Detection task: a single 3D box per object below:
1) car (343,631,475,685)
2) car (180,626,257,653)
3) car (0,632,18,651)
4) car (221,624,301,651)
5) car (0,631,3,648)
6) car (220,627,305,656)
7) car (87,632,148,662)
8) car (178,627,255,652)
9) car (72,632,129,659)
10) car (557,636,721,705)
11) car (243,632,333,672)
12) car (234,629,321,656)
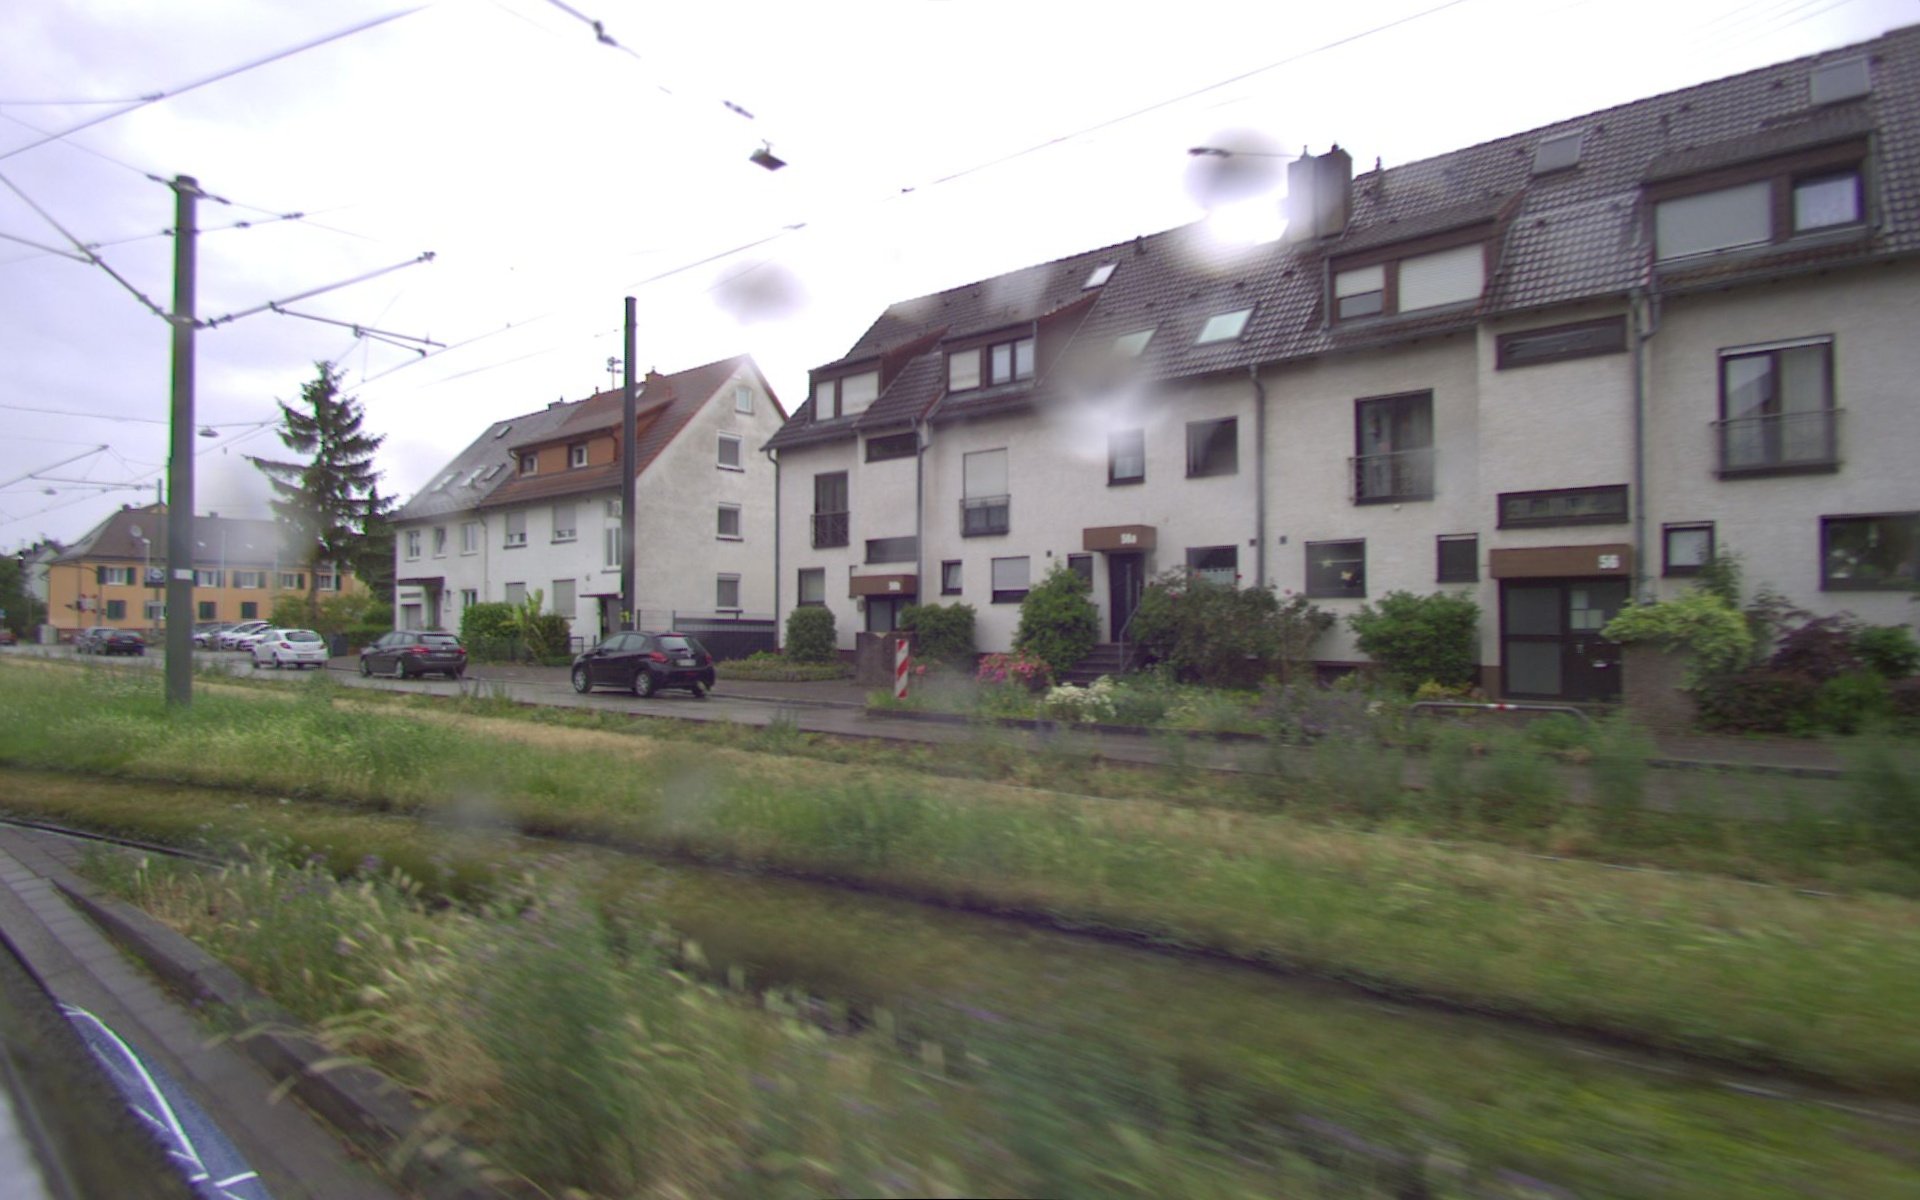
[{"bbox_3d":[-17.025,1.758,31.174,4.751,1.543,1.868,-2,-3,39],"label":"car"},{"bbox_3d":[-47.611,2.519,65.034,3.935,1.607,1.917,0,-1,-37],"label":"car"},{"bbox_3d":[-76.137,3.256,79.954,4.072,1.442,1.862,-1,-3,38],"label":"car"},{"bbox_3d":[-43.901,2.353,63.578,3.939,1.607,1.915,0,-2,-43],"label":"car"},{"bbox_3d":[-82.792,3.356,85.588,4.072,1.442,2.071,-1,-3,38],"label":"car"},{"bbox_3d":[-42.301,2.491,61.436,1.913,1.607,3.945,-2,-2,41],"label":"car"},{"bbox_3d":[-46.764,2.575,56.177,3.996,1.602,1.888,-2,-3,40],"label":"car"},{"bbox_3d":[-49.189,2.596,67.083,3.932,1.607,1.919,0,-1,-31],"label":"car"},{"bbox_3d":[-50.325,2.653,59.211,3.996,1.541,1.858,-2,-3,40],"label":"car"},{"bbox_3d":[-7.406,1.558,23.218,3.934,1.437,1.755,-2,-3,40],"label":"car"},{"bbox_3d":[-25.535,1.941,38.412,3.995,1.451,1.694,-2,-3,39],"label":"car"},{"bbox_3d":[-40.443,2.493,60.062,1.913,1.475,3.945,-2,-2,41],"label":"car"}]
